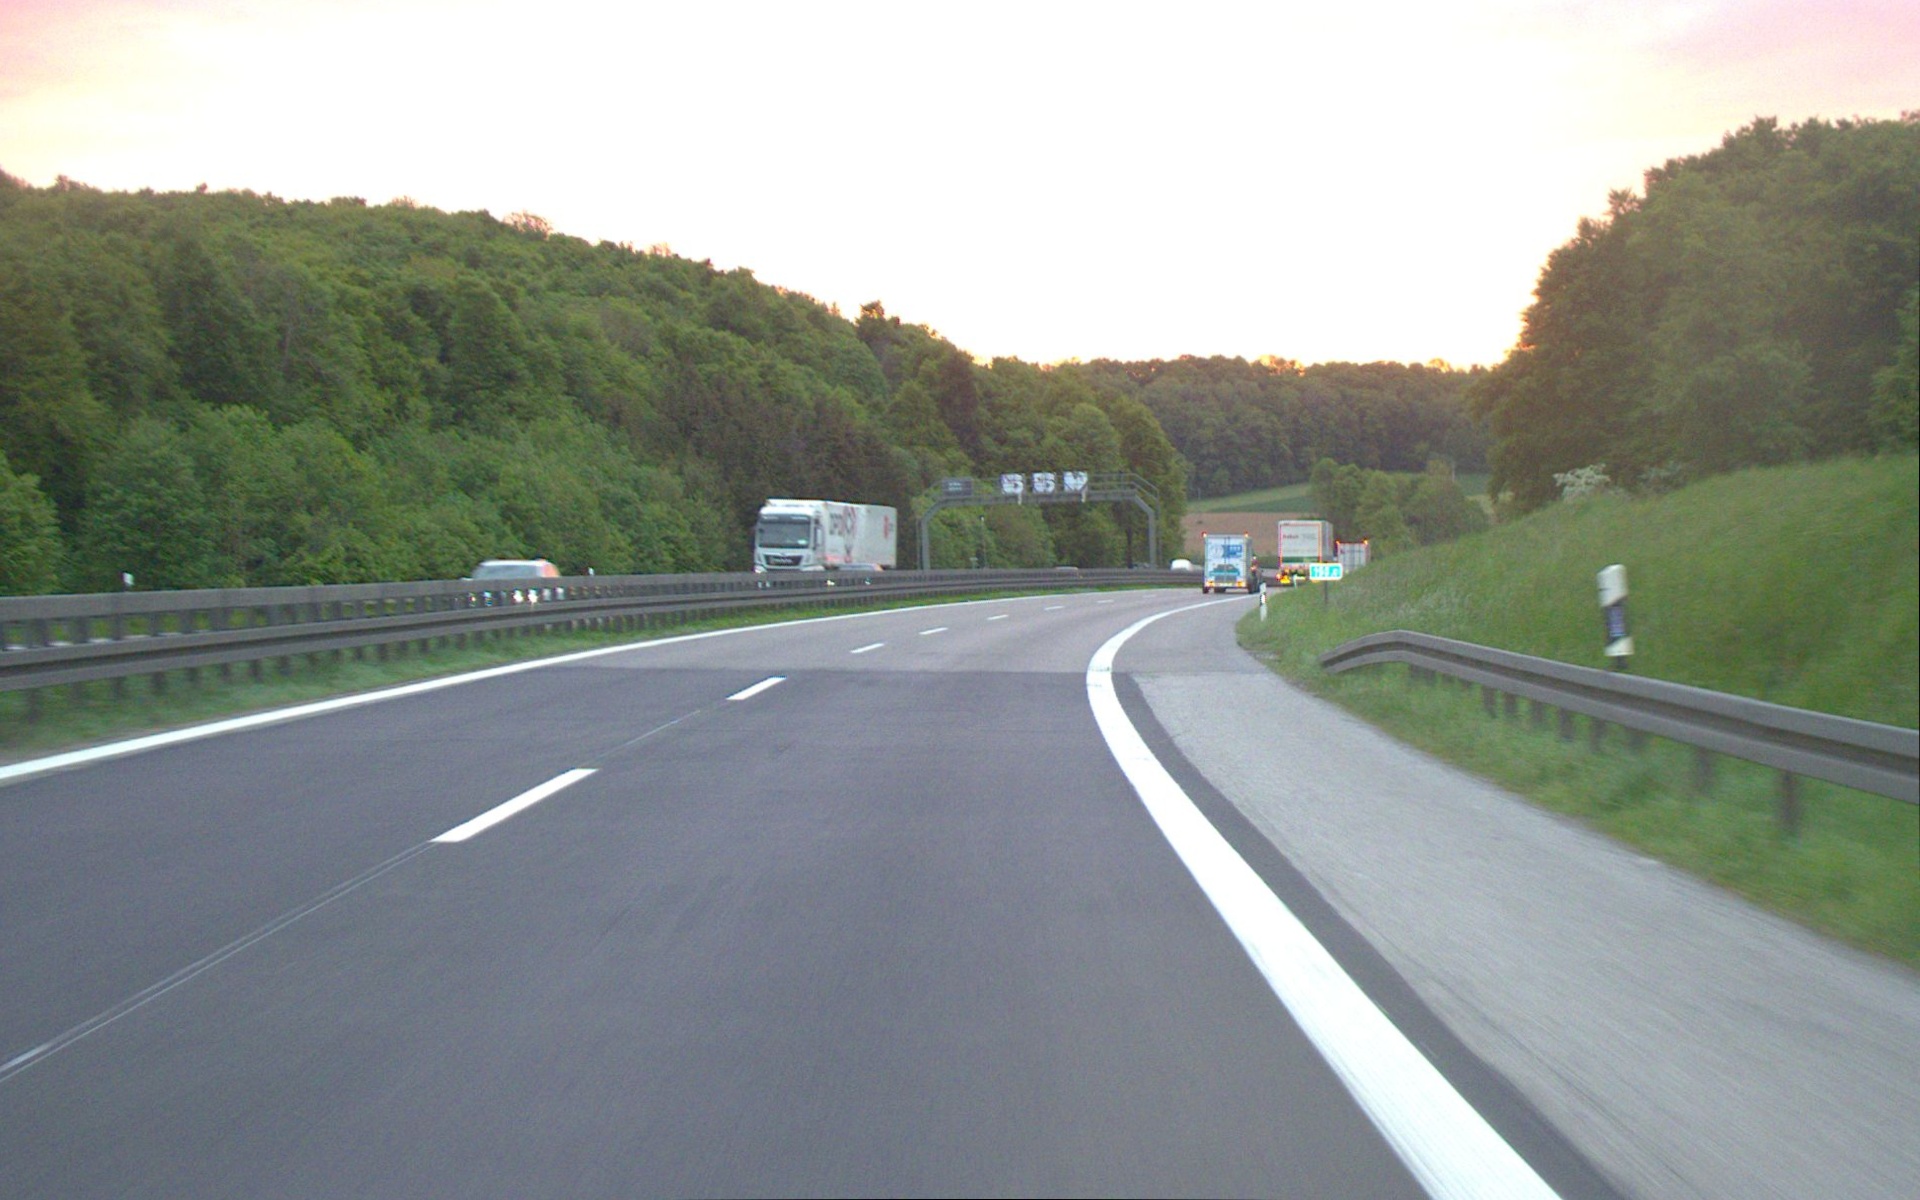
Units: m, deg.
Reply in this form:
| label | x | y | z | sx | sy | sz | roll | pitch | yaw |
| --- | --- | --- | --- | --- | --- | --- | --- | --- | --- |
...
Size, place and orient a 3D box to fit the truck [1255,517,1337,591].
| label | x | y | z | sx | sy | sz | roll | pitch | yaw |
| --- | --- | --- | --- | --- | --- | --- | --- | --- | --- |
| truck | 20.807 | -2.913 | 211.854 | 3.959 | 4.272 | 14.318 | -1 | 1 | 10 |

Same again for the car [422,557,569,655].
| label | x | y | z | sx | sy | sz | roll | pitch | yaw |
| --- | --- | --- | --- | --- | --- | --- | --- | --- | --- |
| car | -10.155 | 0.101 | 75.537 | 1.994 | 2.007 | 5.168 | -2 | 0 | 6 |

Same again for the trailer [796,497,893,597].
| label | x | y | z | sx | sy | sz | roll | pitch | yaw |
| --- | --- | --- | --- | --- | --- | --- | --- | --- | --- |
| trailer | -5.070 | -2.370 | 152.812 | 2.832 | 4.302 | 9.290 | 0 | 1 | 7 |

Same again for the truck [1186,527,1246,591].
| label | x | y | z | sx | sy | sz | roll | pitch | yaw |
| --- | --- | --- | --- | --- | --- | --- | --- | --- | --- |
| truck | 11.620 | -1.880 | 155.702 | 2.276 | 2.655 | 5.235 | -2 | 3 | 9 |

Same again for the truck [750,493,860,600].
| label | x | y | z | sx | sy | sz | roll | pitch | yaw |
| --- | --- | --- | --- | --- | --- | --- | --- | --- | --- |
| truck | -6.393 | -2.224 | 143.207 | 2.865 | 4.266 | 10.063 | 0 | 1 | 7 |
